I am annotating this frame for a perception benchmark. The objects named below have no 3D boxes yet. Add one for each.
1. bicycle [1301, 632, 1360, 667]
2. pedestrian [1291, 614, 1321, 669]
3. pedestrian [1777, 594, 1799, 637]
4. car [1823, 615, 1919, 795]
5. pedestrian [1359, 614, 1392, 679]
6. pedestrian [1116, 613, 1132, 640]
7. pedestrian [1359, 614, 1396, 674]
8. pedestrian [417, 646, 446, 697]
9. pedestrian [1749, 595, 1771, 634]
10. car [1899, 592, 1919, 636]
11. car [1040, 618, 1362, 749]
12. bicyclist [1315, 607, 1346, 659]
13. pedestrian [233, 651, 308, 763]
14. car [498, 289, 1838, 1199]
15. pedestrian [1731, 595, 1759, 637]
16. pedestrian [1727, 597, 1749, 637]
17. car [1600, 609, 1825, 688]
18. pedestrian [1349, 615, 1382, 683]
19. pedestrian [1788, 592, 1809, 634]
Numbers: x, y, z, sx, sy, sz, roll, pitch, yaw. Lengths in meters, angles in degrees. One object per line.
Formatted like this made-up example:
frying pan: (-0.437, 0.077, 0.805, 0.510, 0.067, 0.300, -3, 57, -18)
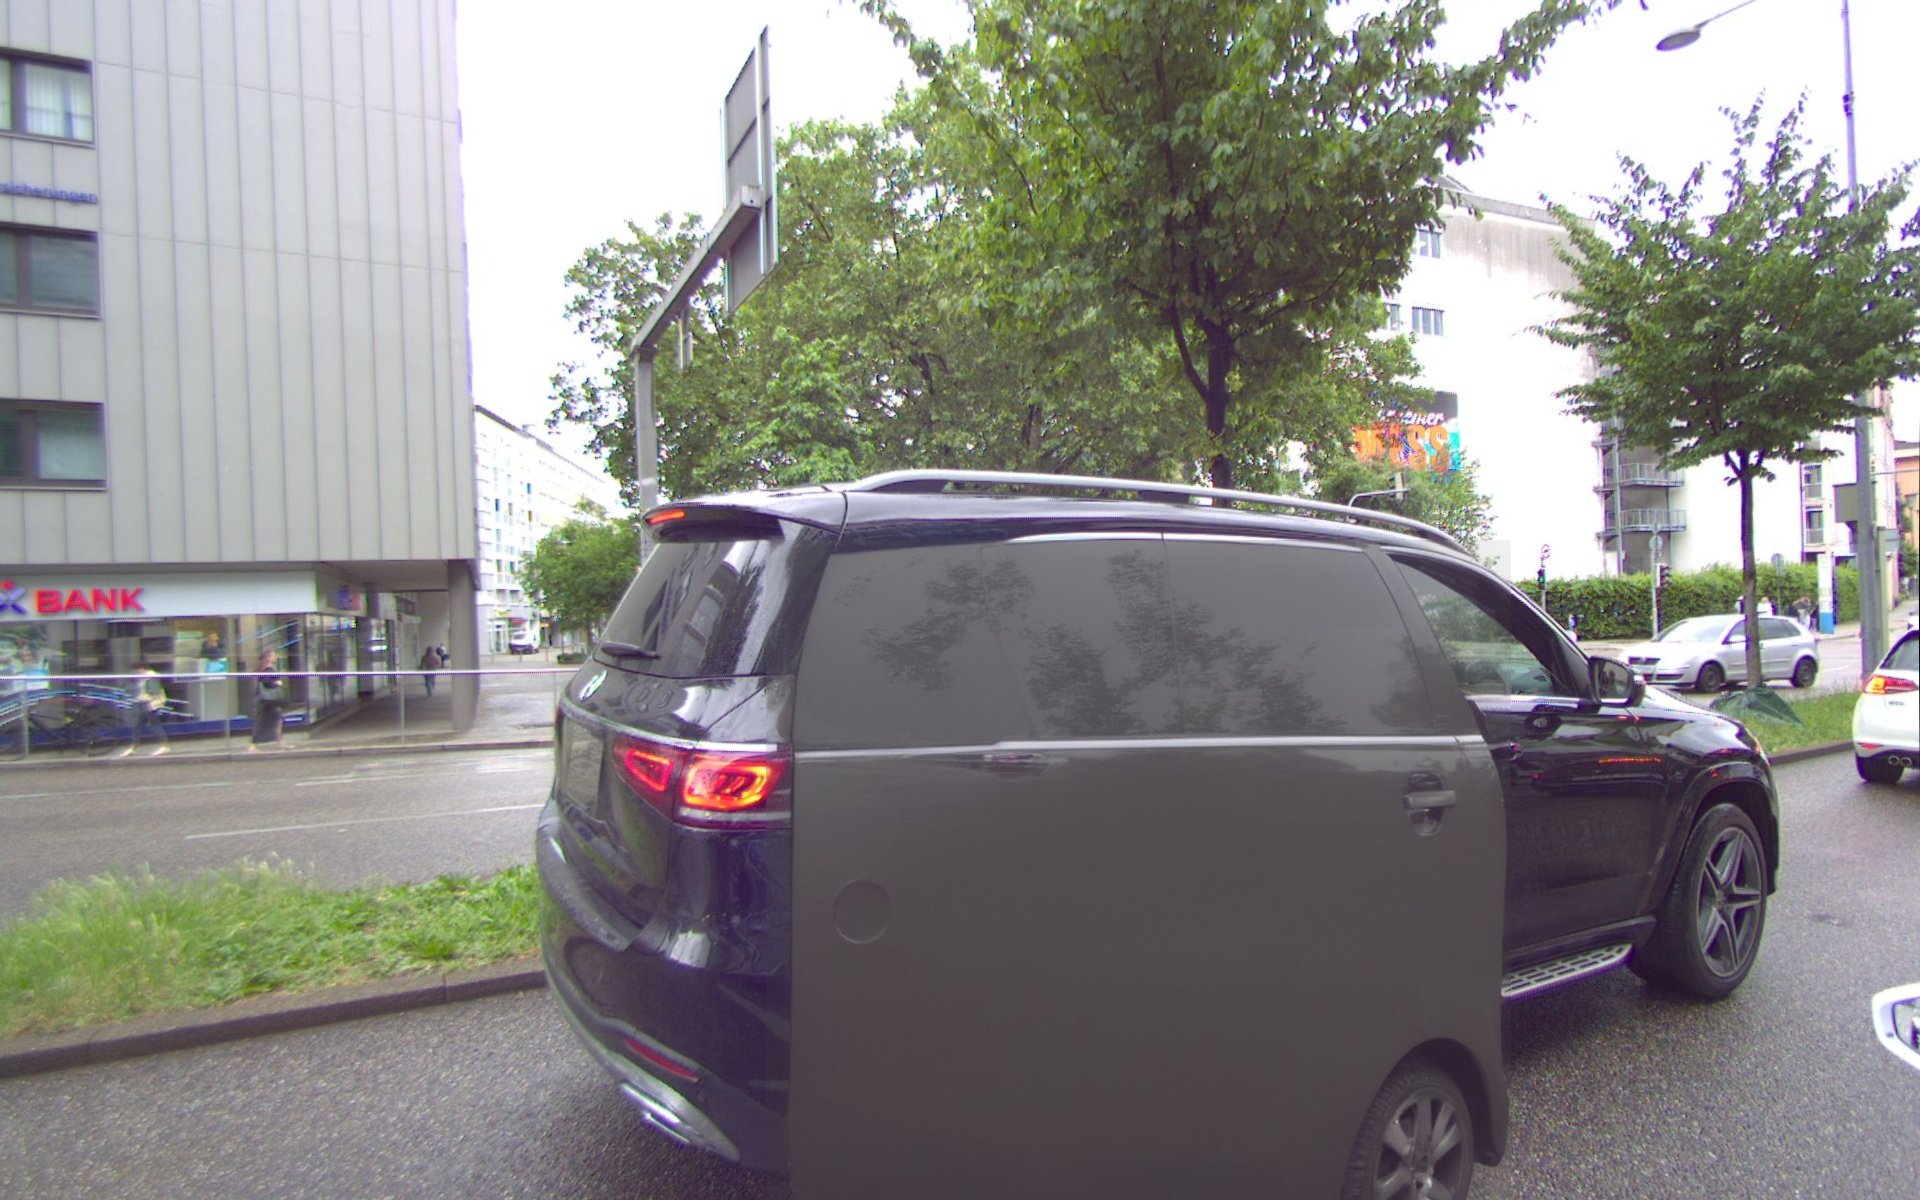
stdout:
bicycle: (11.184, 1.497, 30.297, 1.918, 1.013, 0.612, 2, -3, -31)
pedestrian: (10.833, 1.296, 31.472, 0.572, 1.689, 0.636, -2, 0, -30)
pedestrian: (34.756, 0.662, 42.156, 0.741, 1.771, 0.535, 2, -1, -38)
car: (9.545, 0.871, 8.971, 3.800, 1.448, 1.768, 0, 0, -32)
pedestrian: (10.911, 1.210, 26.390, 0.572, 1.684, 0.554, -2, 0, -30)
pedestrian: (10.248, 1.678, 62.908, 0.723, 1.664, 0.635, 2, 0, -23)
pedestrian: (11.967, 1.254, 28.792, 0.620, 1.684, 0.749, -2, 0, -30)
pedestrian: (-18.053, 2.420, 34.329, 0.719, 1.719, 0.782, 2, -3, -37)
pedestrian: (33.653, 0.596, 42.278, 0.522, 1.620, 0.576, 2, -1, -36)
car: (34.987, 0.478, 35.695, 3.571, 1.506, 1.565, 0, 1, -33)
car: (3.504, 1.078, 14.190, 4.687, 1.505, 1.624, -1, -3, -33)
bicyclist: (11.184, 0.998, 30.305, 0.602, 1.550, 0.629, 2, -3, -30)
pedestrian: (-10.653, 1.640, 15.549, 0.779, 1.659, 0.632, 2, 0, -22)
car: (1.124, 0.514, 3.812, 5.016, 1.895, 1.901, 3, -1, -31)
pedestrian: (32.007, 0.646, 40.957, 0.724, 1.664, 0.635, 2, -1, -27)
pedestrian: (32.669, 0.717, 42.156, 0.522, 1.620, 0.576, 2, -1, -36)
car: (15.007, 1.010, 20.075, 3.690, 1.487, 1.634, 1, -4, -15)
pedestrian: (10.222, 1.222, 25.322, 0.568, 1.684, 0.559, -1, 0, 2)
pedestrian: (36.028, 0.574, 43.177, 0.559, 1.771, 0.535, 2, -1, -35)
